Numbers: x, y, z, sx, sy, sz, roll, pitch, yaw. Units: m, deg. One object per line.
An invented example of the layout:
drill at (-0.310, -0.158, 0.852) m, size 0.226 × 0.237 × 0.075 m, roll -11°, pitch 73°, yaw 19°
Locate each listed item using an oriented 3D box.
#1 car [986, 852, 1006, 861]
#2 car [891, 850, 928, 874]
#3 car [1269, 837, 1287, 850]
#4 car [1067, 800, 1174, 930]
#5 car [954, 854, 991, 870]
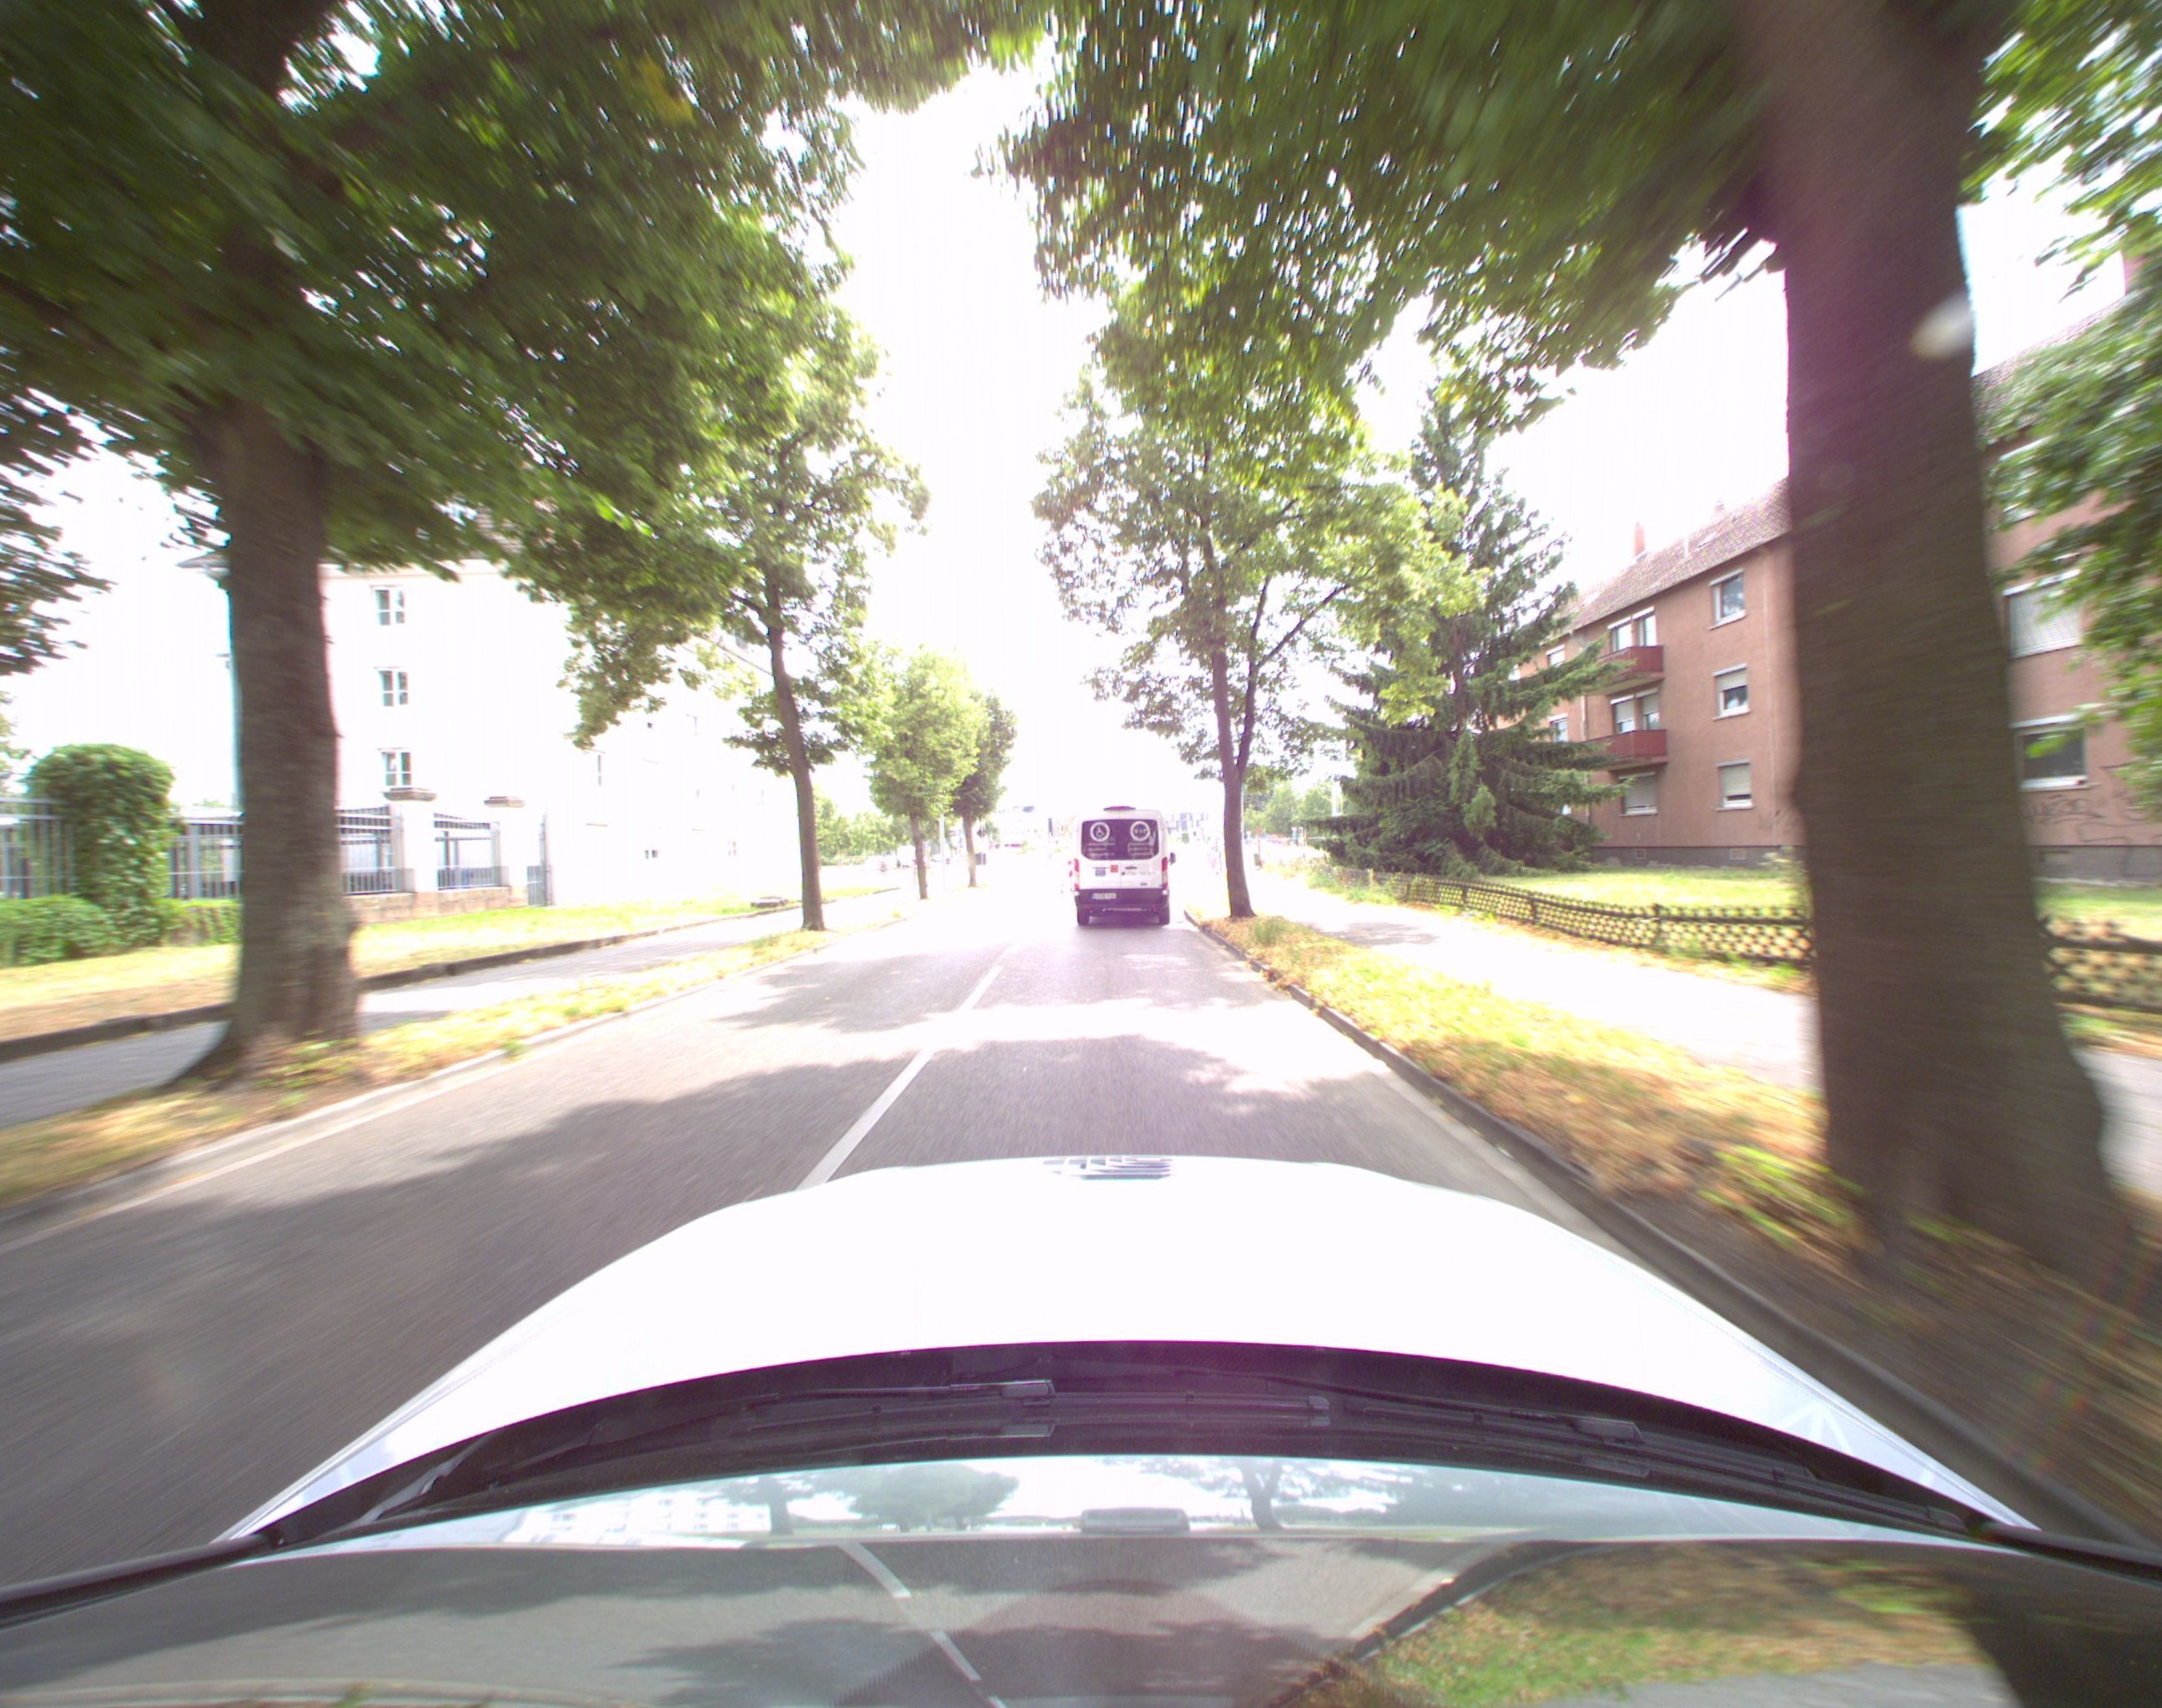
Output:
car at (-19.104, 0.512, 182.089) m, size 4.002 × 1.662 × 1.878 m, roll -4°, pitch 0°, yaw -21°
car at (-23.374, 1.126, 110.764) m, size 2.632 × 2.851 × 5.611 m, roll -4°, pitch 0°, yaw -37°
car at (30.375, -1.590, 125.317) m, size 1.990 × 1.816 × 4.435 m, roll -4°, pitch 0°, yaw 21°
car at (0.998, 0.213, 18.373) m, size 2.052 × 2.539 × 4.007 m, roll -2°, pitch 0°, yaw 6°
car at (-13.498, 1.013, 101.352) m, size 3.953 × 1.662 × 1.901 m, roll -4°, pitch 0°, yaw 21°
